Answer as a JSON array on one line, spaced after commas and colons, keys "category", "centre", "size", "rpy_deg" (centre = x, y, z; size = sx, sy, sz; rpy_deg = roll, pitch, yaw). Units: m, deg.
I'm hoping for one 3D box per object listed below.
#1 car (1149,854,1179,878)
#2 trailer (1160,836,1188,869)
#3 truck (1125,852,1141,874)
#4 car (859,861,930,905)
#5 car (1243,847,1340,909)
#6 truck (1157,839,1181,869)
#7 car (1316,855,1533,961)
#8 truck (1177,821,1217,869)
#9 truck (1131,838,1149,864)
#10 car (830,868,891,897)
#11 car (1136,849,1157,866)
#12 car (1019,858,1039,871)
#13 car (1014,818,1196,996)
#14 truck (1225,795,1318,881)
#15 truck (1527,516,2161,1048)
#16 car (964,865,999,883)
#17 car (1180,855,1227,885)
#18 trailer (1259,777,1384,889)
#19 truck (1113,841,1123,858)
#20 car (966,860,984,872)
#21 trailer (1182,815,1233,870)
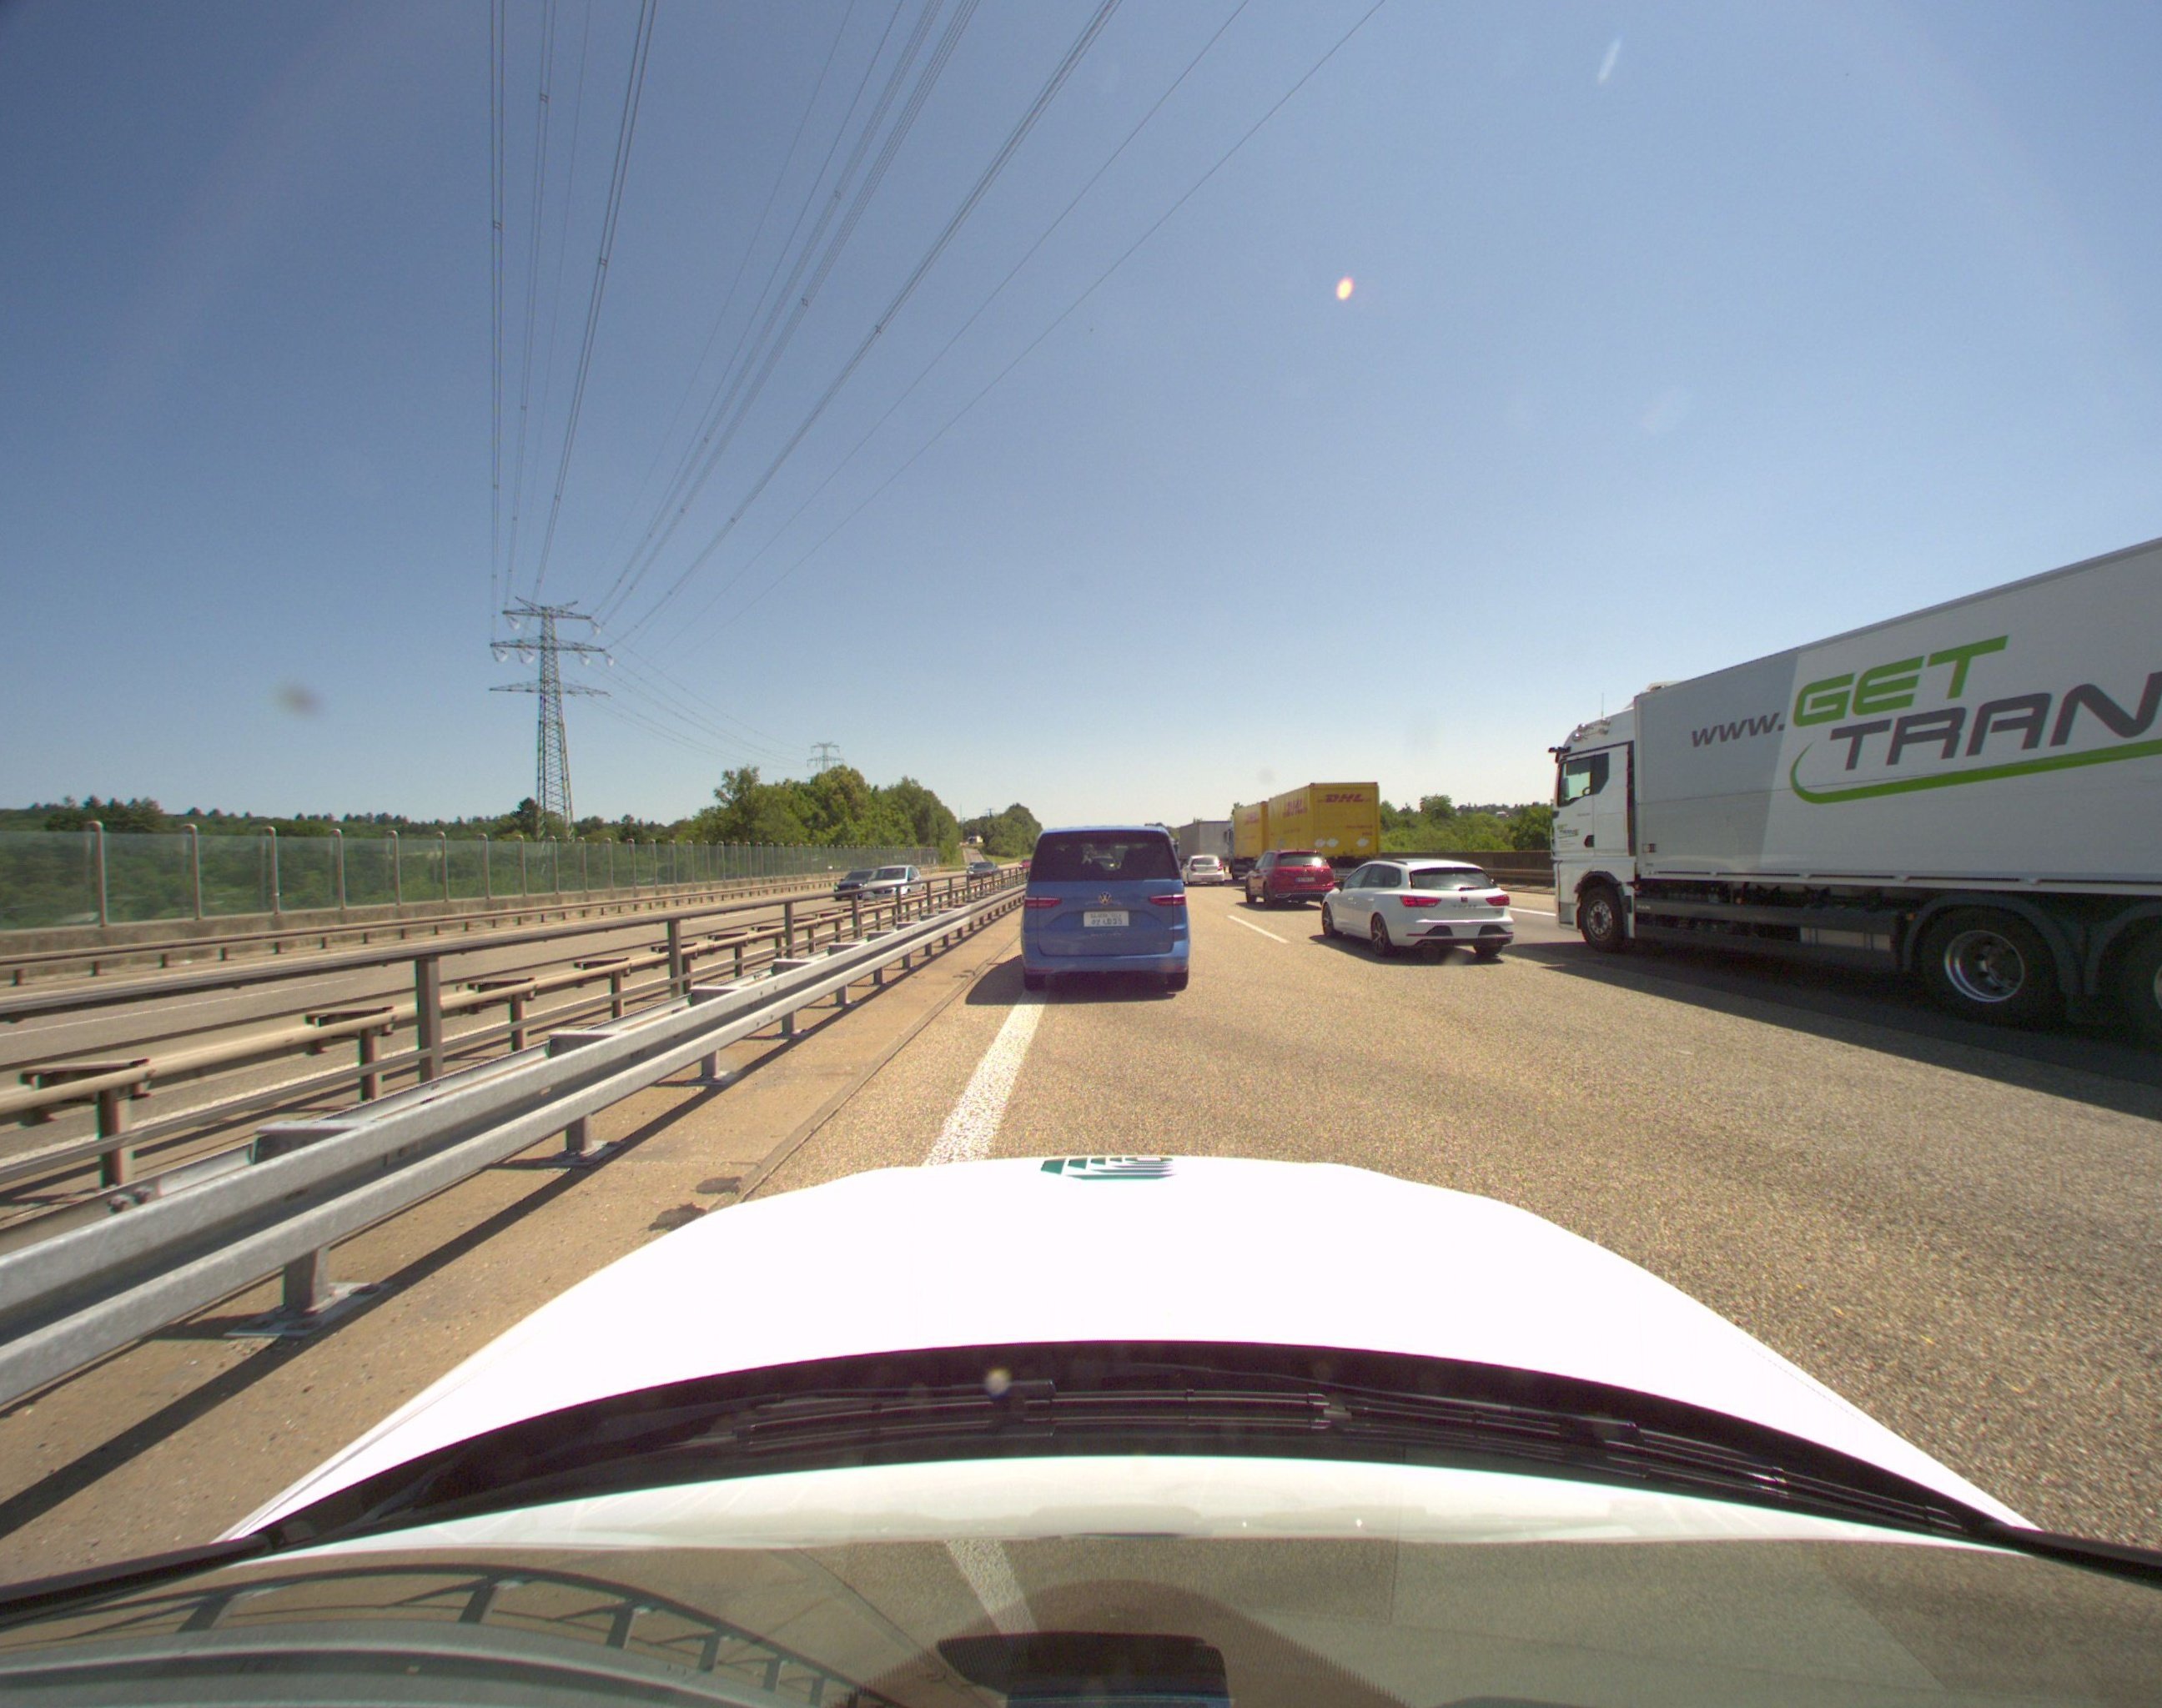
[{"category": "car", "centre": [5.704, 0.852, 56.228], "size": [1.709, 1.587, 3.822], "rpy_deg": [-1, -1, 1]}, {"category": "trailer", "centre": [11.067, -0.078, 97.766], "size": [2.371, 3.744, 11.189], "rpy_deg": [0, -1, 1]}, {"category": "truck", "centre": [11.976, 2.051, 189.017], "size": [2.824, 5.040, 11.814], "rpy_deg": [0, -1, 0]}, {"category": "car", "centre": [-7.394, 1.115, 32.609], "size": [1.834, 1.529, 3.559], "rpy_deg": [-3, 0, 1]}, {"category": "car", "centre": [5.935, 0.627, 23.468], "size": [1.844, 1.608, 4.001], "rpy_deg": [-1, 0, 1]}, {"category": "truck", "centre": [11.118, 0.043, 103.260], "size": [2.359, 3.722, 6.034], "rpy_deg": [0, -1, 1]}, {"category": "car", "centre": [5.209, 0.736, 13.014], "size": [1.774, 1.387, 4.189], "rpy_deg": [-1, 0, 1]}, {"category": "truck", "centre": [10.387, -0.732, 73.503], "size": [2.758, 4.095, 6.985], "rpy_deg": [0, -1, 1]}, {"category": "truck", "centre": [11.852, -0.566, 164.727], "size": [2.824, 5.040, 11.143], "rpy_deg": [0, -1, 0]}, {"category": "car", "centre": [-11.018, 1.400, 41.050], "size": [1.794, 1.386, 4.264], "rpy_deg": [0, -1, 1]}, {"category": "car", "centre": [6.322, 0.375, 78.915], "size": [1.709, 1.540, 3.822], "rpy_deg": [-3, 0, 1]}, {"category": "car", "centre": [-5.968, 1.255, 93.471], "size": [1.835, 1.446, 4.420], "rpy_deg": [0, -1, 1]}, {"category": "car", "centre": [0.309, 0.563, 10.551], "size": [1.875, 1.837, 4.001], "rpy_deg": [-1, 0, 1]}, {"category": "truck", "centre": [9.850, -0.681, 43.479], "size": [2.712, 4.055, 10.337], "rpy_deg": [0, -1, 1]}, {"category": "truck", "centre": [8.774, -0.467, 8.133], "size": [2.841, 3.603, 10.769], "rpy_deg": [0, -1, 1]}, {"category": "car", "centre": [-7.289, 1.441, 60.116], "size": [1.889, 1.315, 4.373], "rpy_deg": [0, -1, 1]}, {"category": "car", "centre": [6.007, 0.760, 40.446], "size": [1.831, 1.414, 4.002], "rpy_deg": [-1, 0, 2]}, {"category": "trailer", "centre": [9.653, -0.718, 33.826], "size": [2.692, 4.023, 8.931], "rpy_deg": [0, -1, 1]}, {"category": "truck", "centre": [12.075, -1.339, 266.456], "size": [2.824, 5.373, 12.552], "rpy_deg": [0, -1, 0]}, {"category": "car", "centre": [-13.701, 1.591, 105.424], "size": [1.599, 1.394, 3.677], "rpy_deg": [-4, 0, 1]}, {"category": "trailer", "centre": [10.228, -0.810, 67.036], "size": [2.745, 4.146, 11.314], "rpy_deg": [0, -1, 1]}]
